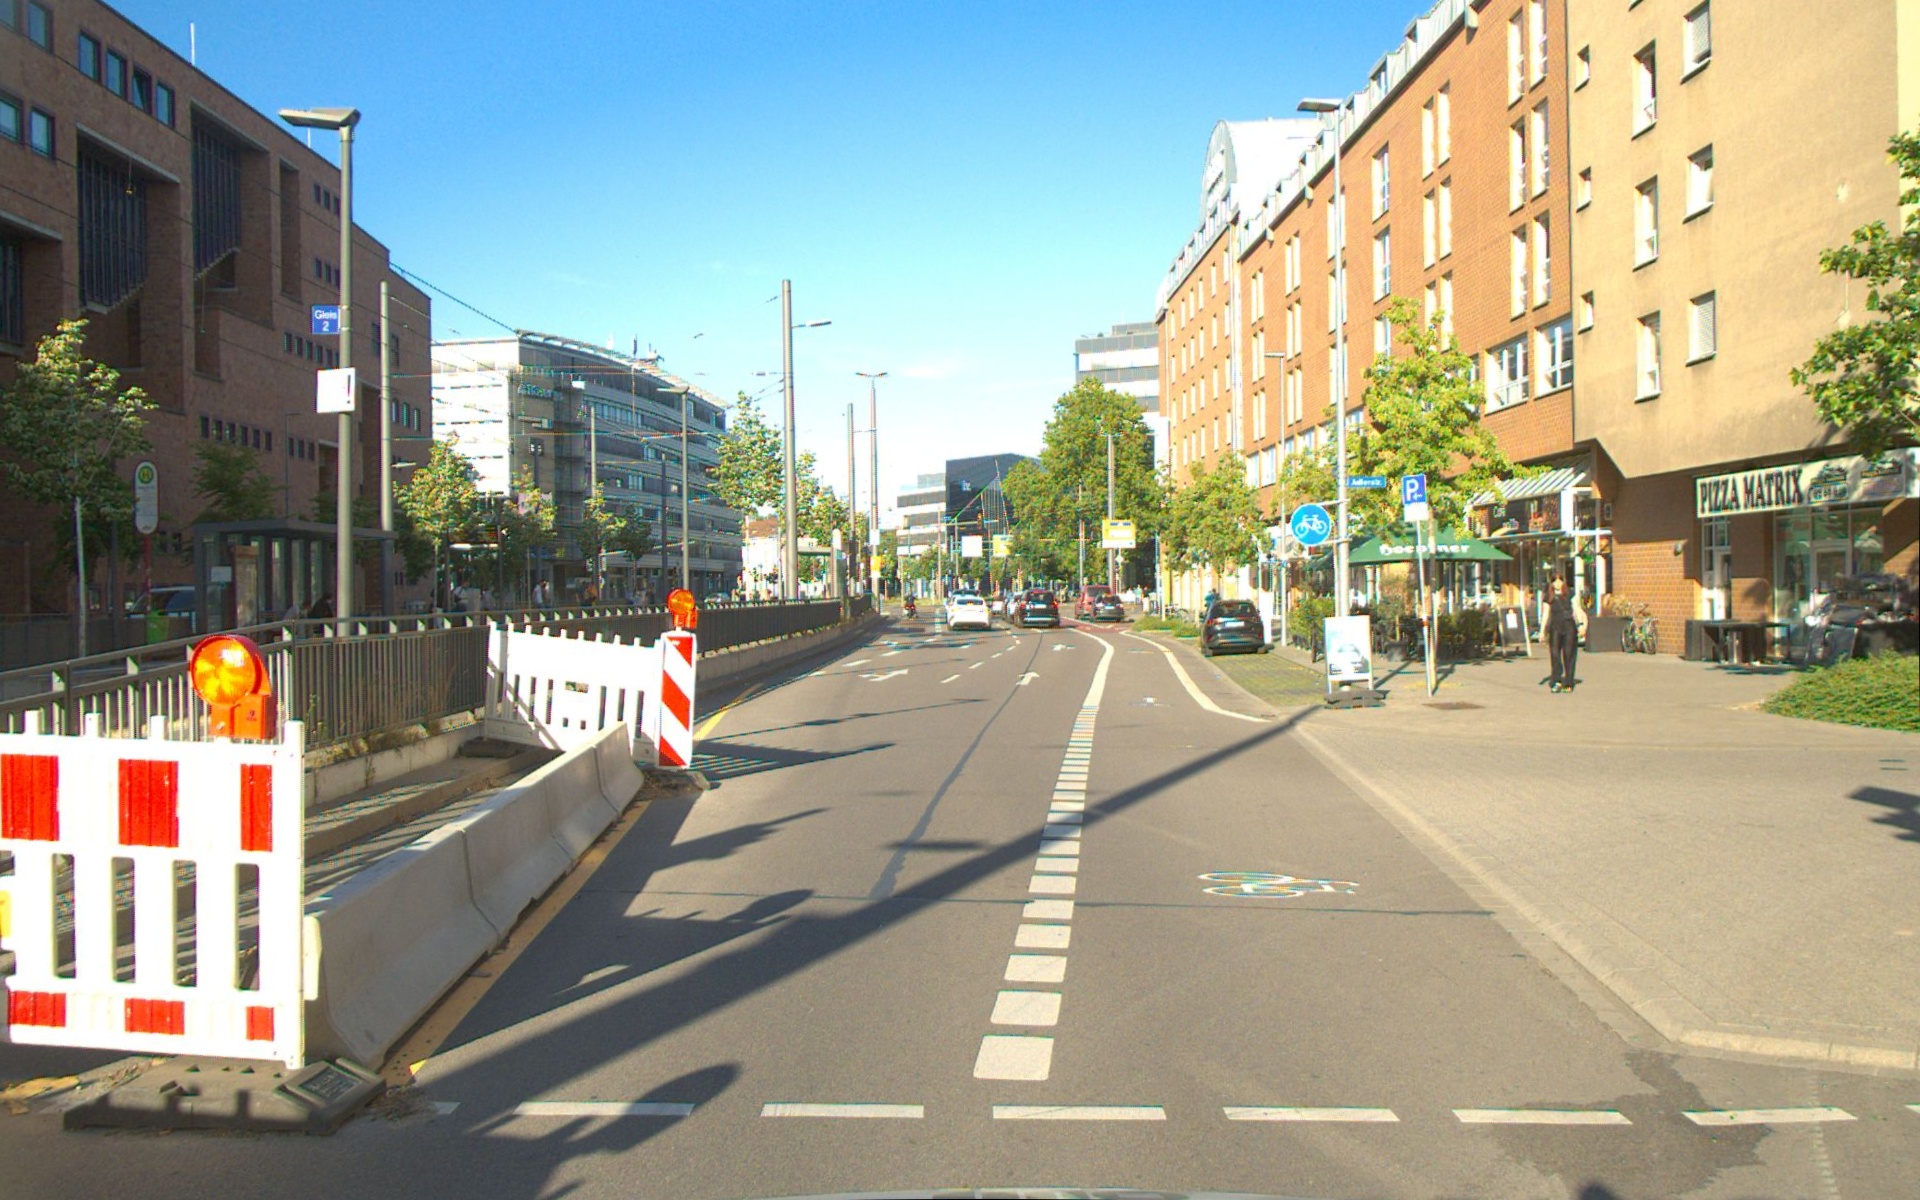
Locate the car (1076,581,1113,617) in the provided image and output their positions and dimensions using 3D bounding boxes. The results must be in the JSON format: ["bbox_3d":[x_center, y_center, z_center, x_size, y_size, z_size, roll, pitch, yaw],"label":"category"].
[{"bbox_3d":[7.796,-0.086,96.248,1.822,1.995,4.000,-1,0,0],"label":"car"}]

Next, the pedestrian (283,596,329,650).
[{"bbox_3d":[-14.905,0.526,37.713,0.706,1.188,0.721,-3,0,-1],"label":"pedestrian"}]

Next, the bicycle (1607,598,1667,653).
[{"bbox_3d":[15.303,0.557,37.404,0.601,1.190,1.536,-2,1,-4],"label":"bicycle"}]

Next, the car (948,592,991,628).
[{"bbox_3d":[0.396,0.413,71.822,1.744,1.439,4.818,1,0,-1],"label":"car"}]

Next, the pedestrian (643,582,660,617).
[{"bbox_3d":[-14.893,-0.045,79.853,0.627,1.672,0.945,1,0,-1],"label":"pedestrian"}]

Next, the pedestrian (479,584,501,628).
[{"bbox_3d":[-15.947,0.199,56.101,0.528,1.485,0.642,1,0,-1],"label":"pedestrian"}]

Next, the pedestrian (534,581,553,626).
[{"bbox_3d":[-16.236,0.145,64.496,0.610,1.744,0.616,0,0,-1],"label":"pedestrian"}]

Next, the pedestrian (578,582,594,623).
[{"bbox_3d":[-16.152,0.108,71.480,0.570,1.768,0.616,0,0,-1],"label":"pedestrian"}]

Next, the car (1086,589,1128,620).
[{"bbox_3d":[7.930,0.210,89.691,1.809,1.588,4.632,1,0,0],"label":"car"}]

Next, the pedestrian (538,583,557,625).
[{"bbox_3d":[-16.247,0.142,65.120,0.610,1.640,0.616,0,0,-1],"label":"pedestrian"}]

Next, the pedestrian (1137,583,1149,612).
[{"bbox_3d":[11.834,-0.145,106.935,0.594,1.853,0.748,-1,0,-2],"label":"pedestrian"}]

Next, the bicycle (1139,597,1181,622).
[{"bbox_3d":[9.584,0.456,79.267,1.903,1.094,0.555,-2,0,10],"label":"bicycle"}]

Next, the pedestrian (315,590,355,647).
[{"bbox_3d":[-15.025,0.435,39.750,0.633,1.331,0.721,-3,0,-1],"label":"pedestrian"}]

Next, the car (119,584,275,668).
[{"bbox_3d":[-18.678,0.597,40.722,1.954,1.913,4.579,-1,0,-4],"label":"car"}]

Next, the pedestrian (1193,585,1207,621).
[{"bbox_3d":[12.540,0.150,86.431,0.594,1.853,0.748,-1,0,-2],"label":"pedestrian"}]

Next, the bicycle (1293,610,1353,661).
[{"bbox_3d":[8.450,0.824,38.596,0.750,1.100,1.996,-6,-1,-4],"label":"bicycle"}]

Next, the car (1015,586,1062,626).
[{"bbox_3d":[3.640,0.260,77.315,1.935,1.790,4.632,1,0,-1],"label":"car"}]

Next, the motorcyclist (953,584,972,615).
[{"bbox_3d":[0.120,-0.032,80.557,0.820,1.501,1.236,-1,0,-2],"label":"motorcyclist"}]

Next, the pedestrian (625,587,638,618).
[{"bbox_3d":[-17.253,0.139,86.931,0.552,1.637,0.616,0,0,-1],"label":"pedestrian"}]

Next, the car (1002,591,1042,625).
[{"bbox_3d":[3.164,0.385,84.822,1.813,1.668,4.378,-1,0,-1],"label":"car"}]

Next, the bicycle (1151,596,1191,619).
[{"bbox_3d":[10.484,0.372,82.187,1.903,1.093,0.626,-2,0,11],"label":"bicycle"}]

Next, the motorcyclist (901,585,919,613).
[{"bbox_3d":[-2.947,-0.039,97.462,0.998,1.631,1.148,1,0,-1],"label":"motorcyclist"}]

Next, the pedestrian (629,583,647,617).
[{"bbox_3d":[-15.536,-0.005,79.844,0.627,1.636,0.945,1,0,-1],"label":"pedestrian"}]

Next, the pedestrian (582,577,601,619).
[{"bbox_3d":[-15.120,-0.087,67.937,0.627,1.725,0.541,1,0,-1],"label":"pedestrian"}]

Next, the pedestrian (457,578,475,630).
[{"bbox_3d":[-15.900,0.133,53.250,0.370,1.649,0.553,1,0,-1],"label":"pedestrian"}]

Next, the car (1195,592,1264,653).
[{"bbox_3d":[7.865,0.611,48.518,1.684,1.665,4.234,-2,0,5],"label":"car"}]

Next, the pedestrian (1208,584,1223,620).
[{"bbox_3d":[13.353,0.108,86.499,0.594,1.853,0.748,-1,0,-2],"label":"pedestrian"}]

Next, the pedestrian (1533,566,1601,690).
[{"bbox_3d":[9.161,0.416,25.005,0.866,1.794,1.105,-3,-1,20],"label":"pedestrian"}]

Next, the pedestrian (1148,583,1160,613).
[{"bbox_3d":[12.279,-0.122,104.667,0.594,1.853,0.748,-1,0,-2],"label":"pedestrian"}]

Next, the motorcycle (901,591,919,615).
[{"bbox_3d":[-2.945,0.168,97.441,0.998,1.335,2.914,1,0,0],"label":"motorcycle"}]

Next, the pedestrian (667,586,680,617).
[{"bbox_3d":[-17.284,0.071,99.714,0.601,1.849,0.897,0,0,-1],"label":"pedestrian"}]

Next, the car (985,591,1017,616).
[{"bbox_3d":[2.509,0.212,102.255,1.813,1.524,4.378,0,1,-1],"label":"car"}]

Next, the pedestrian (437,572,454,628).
[{"bbox_3d":[-15.746,0.000,50.639,0.370,1.677,0.416,1,0,-1],"label":"pedestrian"}]

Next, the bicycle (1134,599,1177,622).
[{"bbox_3d":[9.229,0.504,78.037,1.904,1.040,0.502,-2,0,17],"label":"bicycle"}]
